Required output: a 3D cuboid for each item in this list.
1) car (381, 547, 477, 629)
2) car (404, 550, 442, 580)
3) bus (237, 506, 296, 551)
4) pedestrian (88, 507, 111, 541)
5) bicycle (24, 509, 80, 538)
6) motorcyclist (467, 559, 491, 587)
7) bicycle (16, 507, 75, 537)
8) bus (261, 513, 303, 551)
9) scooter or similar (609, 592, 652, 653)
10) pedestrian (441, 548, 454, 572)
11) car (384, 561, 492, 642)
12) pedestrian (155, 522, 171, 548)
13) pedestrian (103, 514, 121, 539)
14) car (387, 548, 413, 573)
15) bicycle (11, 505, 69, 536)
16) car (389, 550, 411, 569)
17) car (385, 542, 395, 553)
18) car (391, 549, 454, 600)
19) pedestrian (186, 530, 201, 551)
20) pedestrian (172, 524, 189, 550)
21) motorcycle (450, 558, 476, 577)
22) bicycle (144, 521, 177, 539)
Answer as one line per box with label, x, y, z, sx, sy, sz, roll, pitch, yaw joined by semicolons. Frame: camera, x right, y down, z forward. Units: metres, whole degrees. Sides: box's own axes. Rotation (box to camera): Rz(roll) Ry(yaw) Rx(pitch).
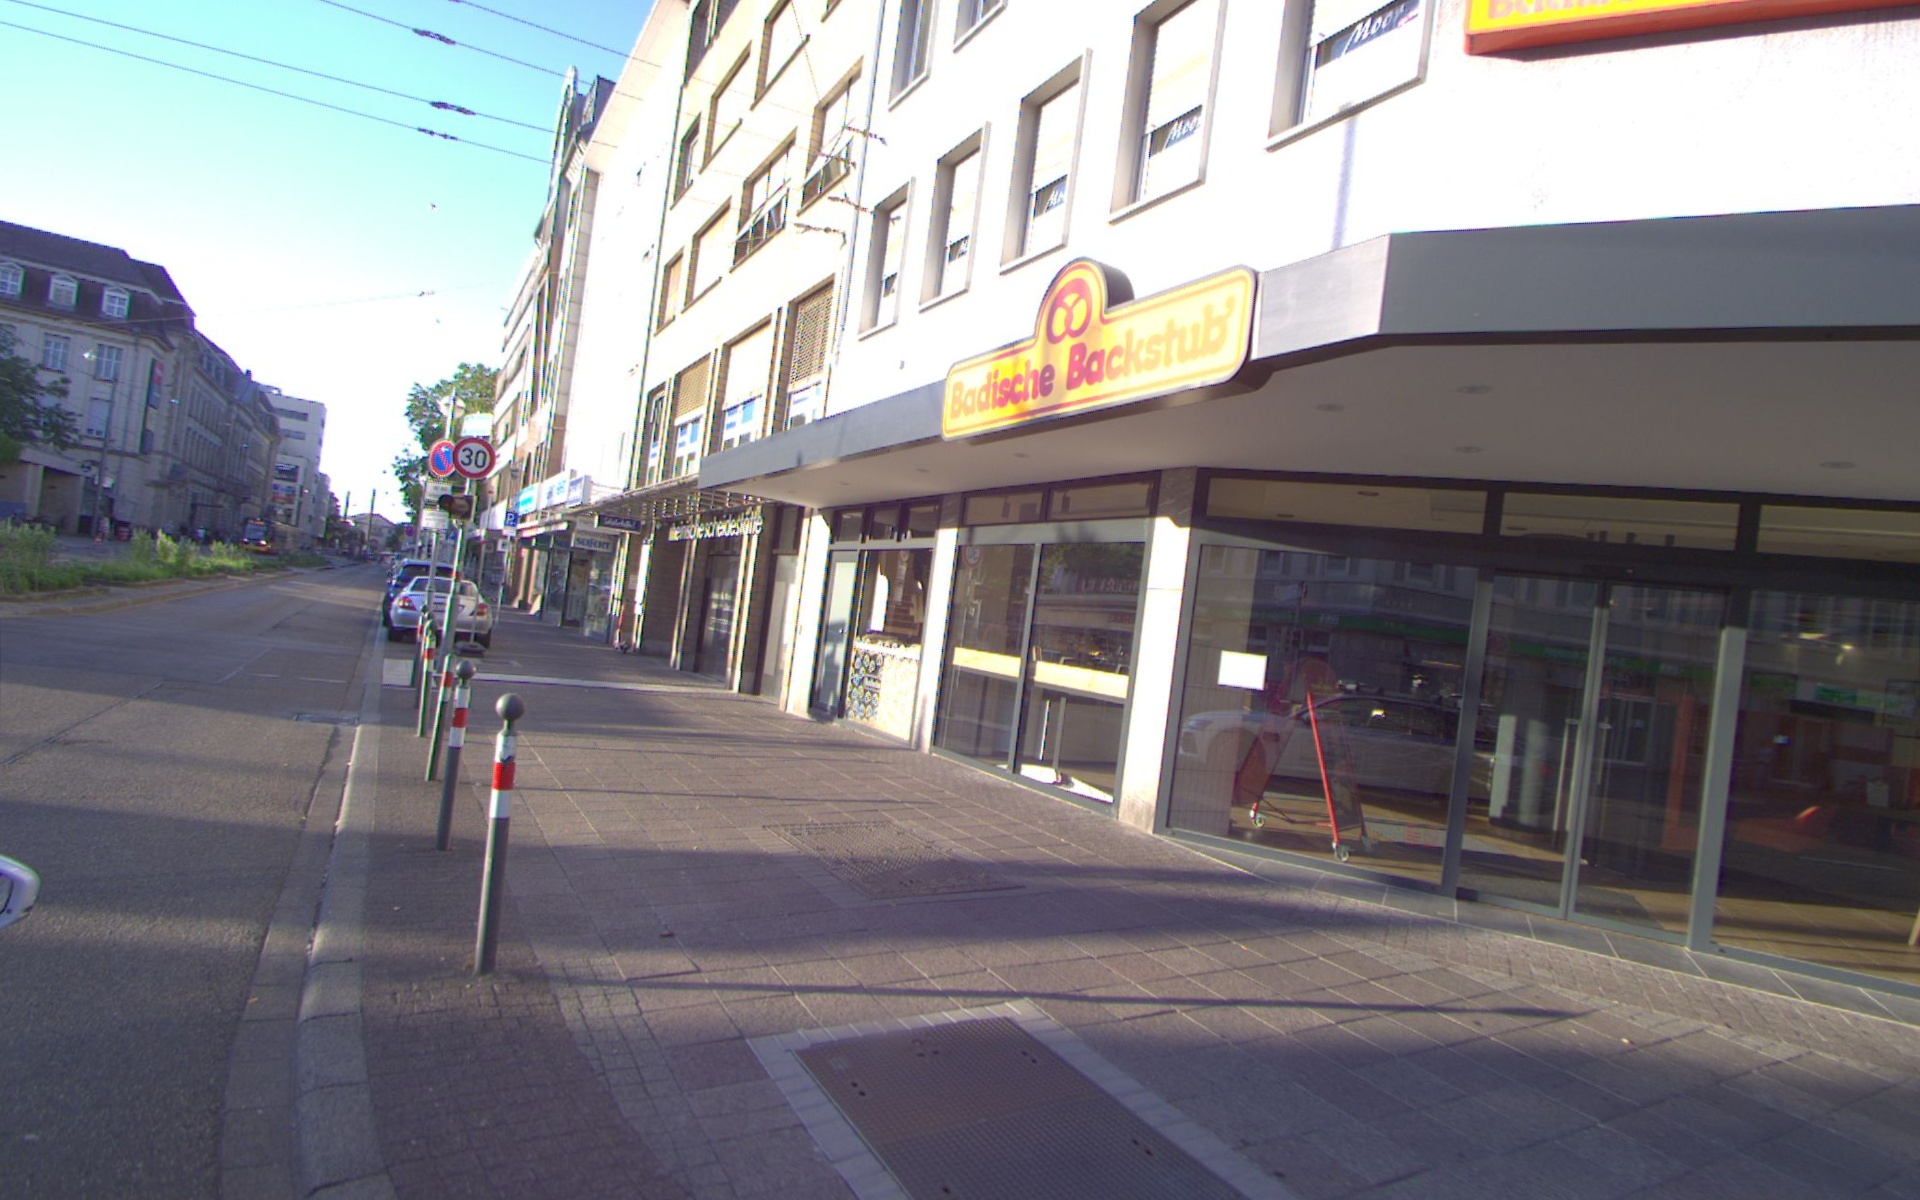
car;-13.039;-0.348;24.616;1.752;1.623;4.255;8;-2;-30
car;-29.208;-1.917;54.662;1.641;1.398;4.308;4;0;-30
bus;-70.006;-7.024;101.895;2.801;3.694;16.949;8;-2;-29
pedestrian;-54.647;-4.823;63.920;0.718;1.956;0.788;7;-2;-26
bicycle;-52.163;-4.396;57.821;2.225;1.246;0.581;8;-2;-30
motorcyclist;-34.164;-1.913;71.423;0.945;1.834;1.002;5;-3;38
bicycle;-51.291;-4.355;56.449;2.225;1.269;0.575;8;-3;-30
bus;-76.009;-7.557;112.929;2.801;3.667;8.228;8;-1;-29
scooter or similar;-7.292;0.483;22.199;0.457;1.197;1.560;8;-1;-30
pedestrian;-38.508;-2.993;75.641;0.673;1.736;0.650;8;-2;-27
car;-10.623;0.001;20.599;1.660;1.297;4.038;8;-2;-26
pedestrian;-61.491;-5.037;77.583;0.687;1.868;0.657;8;-2;-29
pedestrian;-62.217;-5.374;73.795;0.650;1.664;0.714;7;-2;39
car;-51.569;-3.655;92.654;1.901;2.004;4.389;8;-2;-29
bicycle;-50.443;-4.359;55.186;2.181;1.314;0.575;8;-3;-30
car;-63.648;-4.558;114.291;1.979;1.781;4.389;8;-2;-29
car;-120.330;-11.056;212.391;1.747;1.847;3.546;8;-3;-29
car;-20.146;-0.979;37.589;1.796;1.570;4.800;8;-2;-30
pedestrian;-68.312;-5.326;89.645;0.808;1.726;0.756;8;-2;-29
pedestrian;-60.807;-4.925;78.483;0.727;1.861;0.710;8;-2;-29
motorcycle;-36.413;-2.406;73.726;2.260;1.158;0.565;7;-1;35
bicycle;-69.953;-6.105;88.030;2.085;1.161;0.570;9;-3;-34
